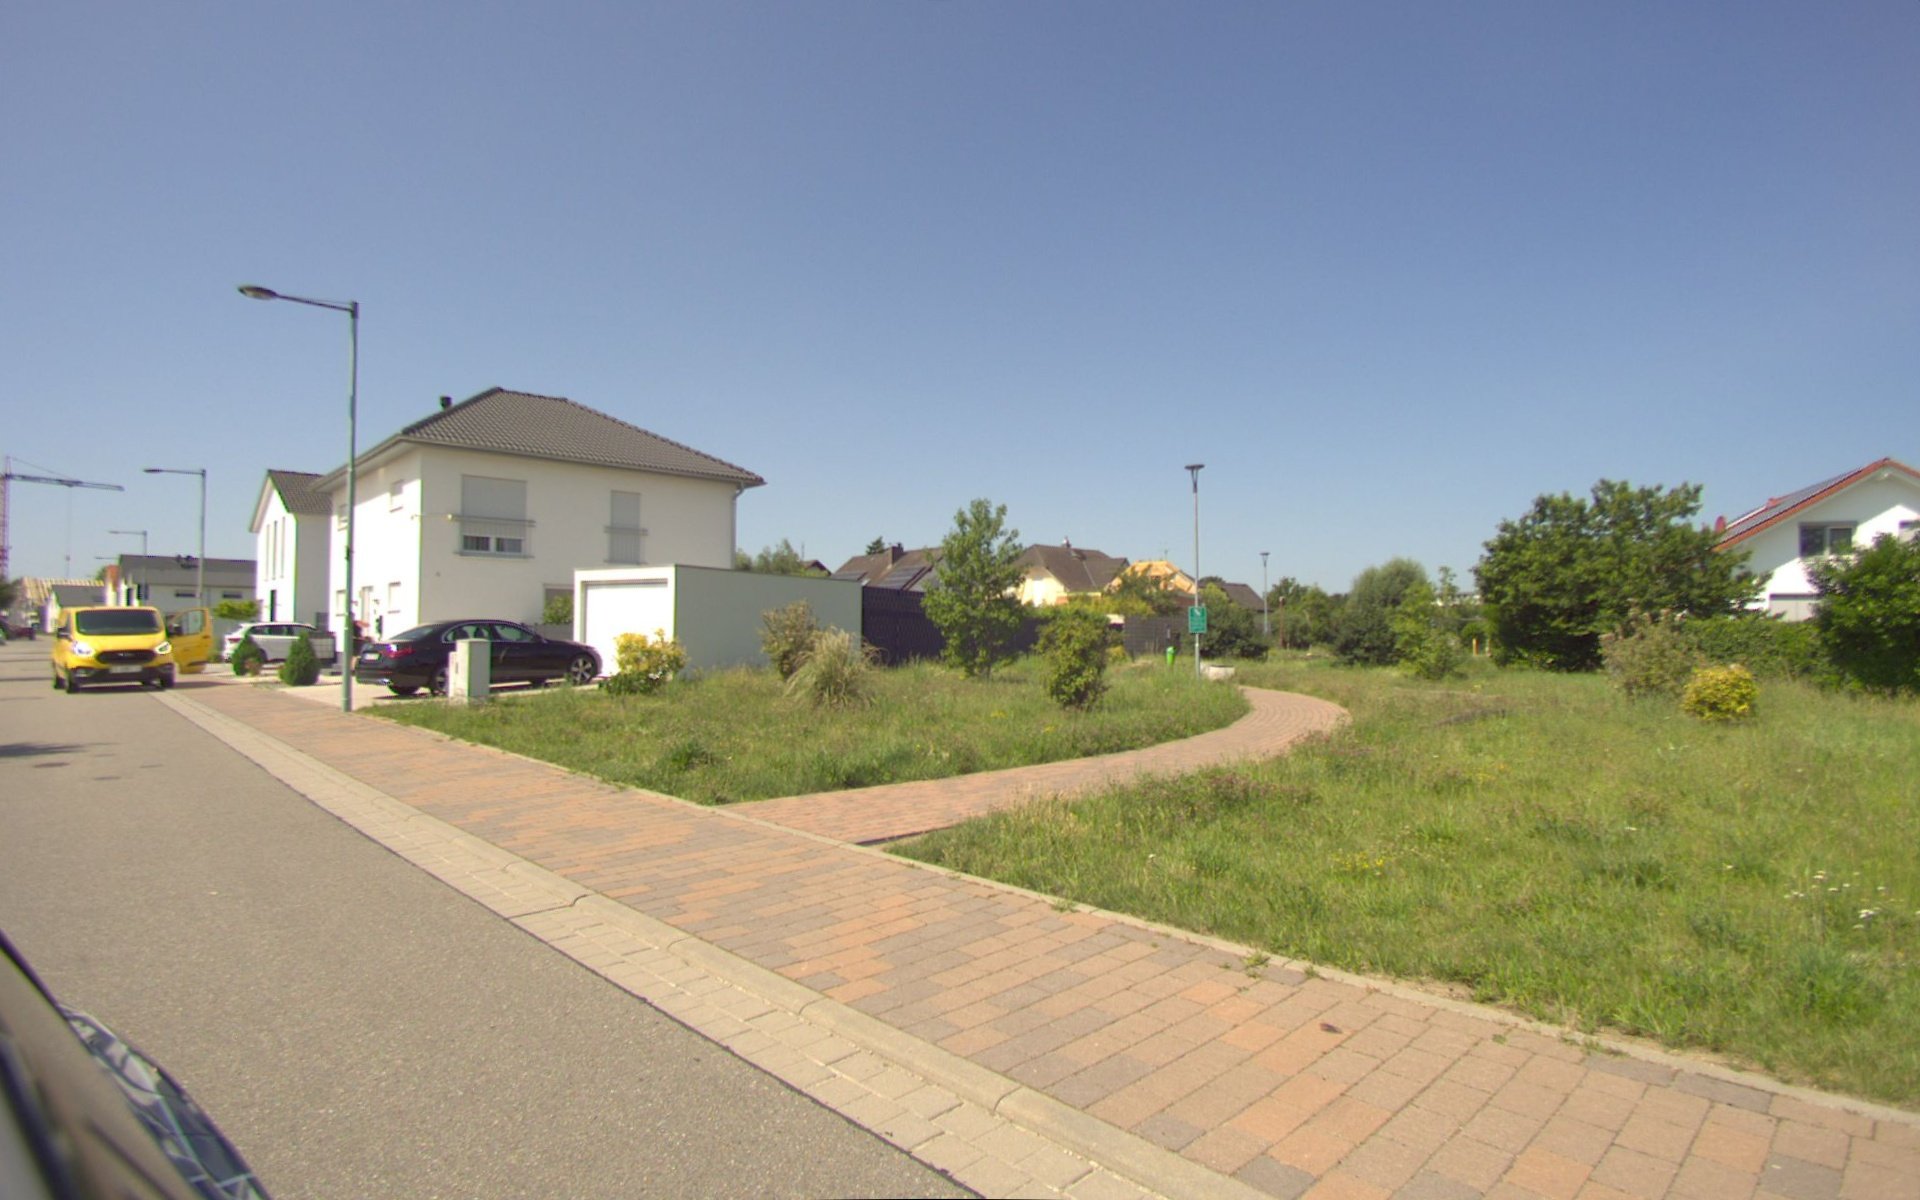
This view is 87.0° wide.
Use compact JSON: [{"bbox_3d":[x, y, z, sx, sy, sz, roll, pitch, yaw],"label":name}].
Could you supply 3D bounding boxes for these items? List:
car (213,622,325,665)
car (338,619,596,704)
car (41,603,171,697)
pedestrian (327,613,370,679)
[{"bbox_3d":[-31.395,1.952,46.021,3.938,1.866,2.003,2,-3,-42],"label":"car"},{"bbox_3d":[-9.636,1.132,20.120,1.744,1.463,4.356,-1,-1,34],"label":"car"},{"bbox_3d":[-20.535,1.151,24.254,4.842,2.029,1.863,-2,-2,44],"label":"car"},{"bbox_3d":[-16.343,1.211,27.052,0.917,1.698,0.538,-1,-1,-33],"label":"pedestrian"}]
